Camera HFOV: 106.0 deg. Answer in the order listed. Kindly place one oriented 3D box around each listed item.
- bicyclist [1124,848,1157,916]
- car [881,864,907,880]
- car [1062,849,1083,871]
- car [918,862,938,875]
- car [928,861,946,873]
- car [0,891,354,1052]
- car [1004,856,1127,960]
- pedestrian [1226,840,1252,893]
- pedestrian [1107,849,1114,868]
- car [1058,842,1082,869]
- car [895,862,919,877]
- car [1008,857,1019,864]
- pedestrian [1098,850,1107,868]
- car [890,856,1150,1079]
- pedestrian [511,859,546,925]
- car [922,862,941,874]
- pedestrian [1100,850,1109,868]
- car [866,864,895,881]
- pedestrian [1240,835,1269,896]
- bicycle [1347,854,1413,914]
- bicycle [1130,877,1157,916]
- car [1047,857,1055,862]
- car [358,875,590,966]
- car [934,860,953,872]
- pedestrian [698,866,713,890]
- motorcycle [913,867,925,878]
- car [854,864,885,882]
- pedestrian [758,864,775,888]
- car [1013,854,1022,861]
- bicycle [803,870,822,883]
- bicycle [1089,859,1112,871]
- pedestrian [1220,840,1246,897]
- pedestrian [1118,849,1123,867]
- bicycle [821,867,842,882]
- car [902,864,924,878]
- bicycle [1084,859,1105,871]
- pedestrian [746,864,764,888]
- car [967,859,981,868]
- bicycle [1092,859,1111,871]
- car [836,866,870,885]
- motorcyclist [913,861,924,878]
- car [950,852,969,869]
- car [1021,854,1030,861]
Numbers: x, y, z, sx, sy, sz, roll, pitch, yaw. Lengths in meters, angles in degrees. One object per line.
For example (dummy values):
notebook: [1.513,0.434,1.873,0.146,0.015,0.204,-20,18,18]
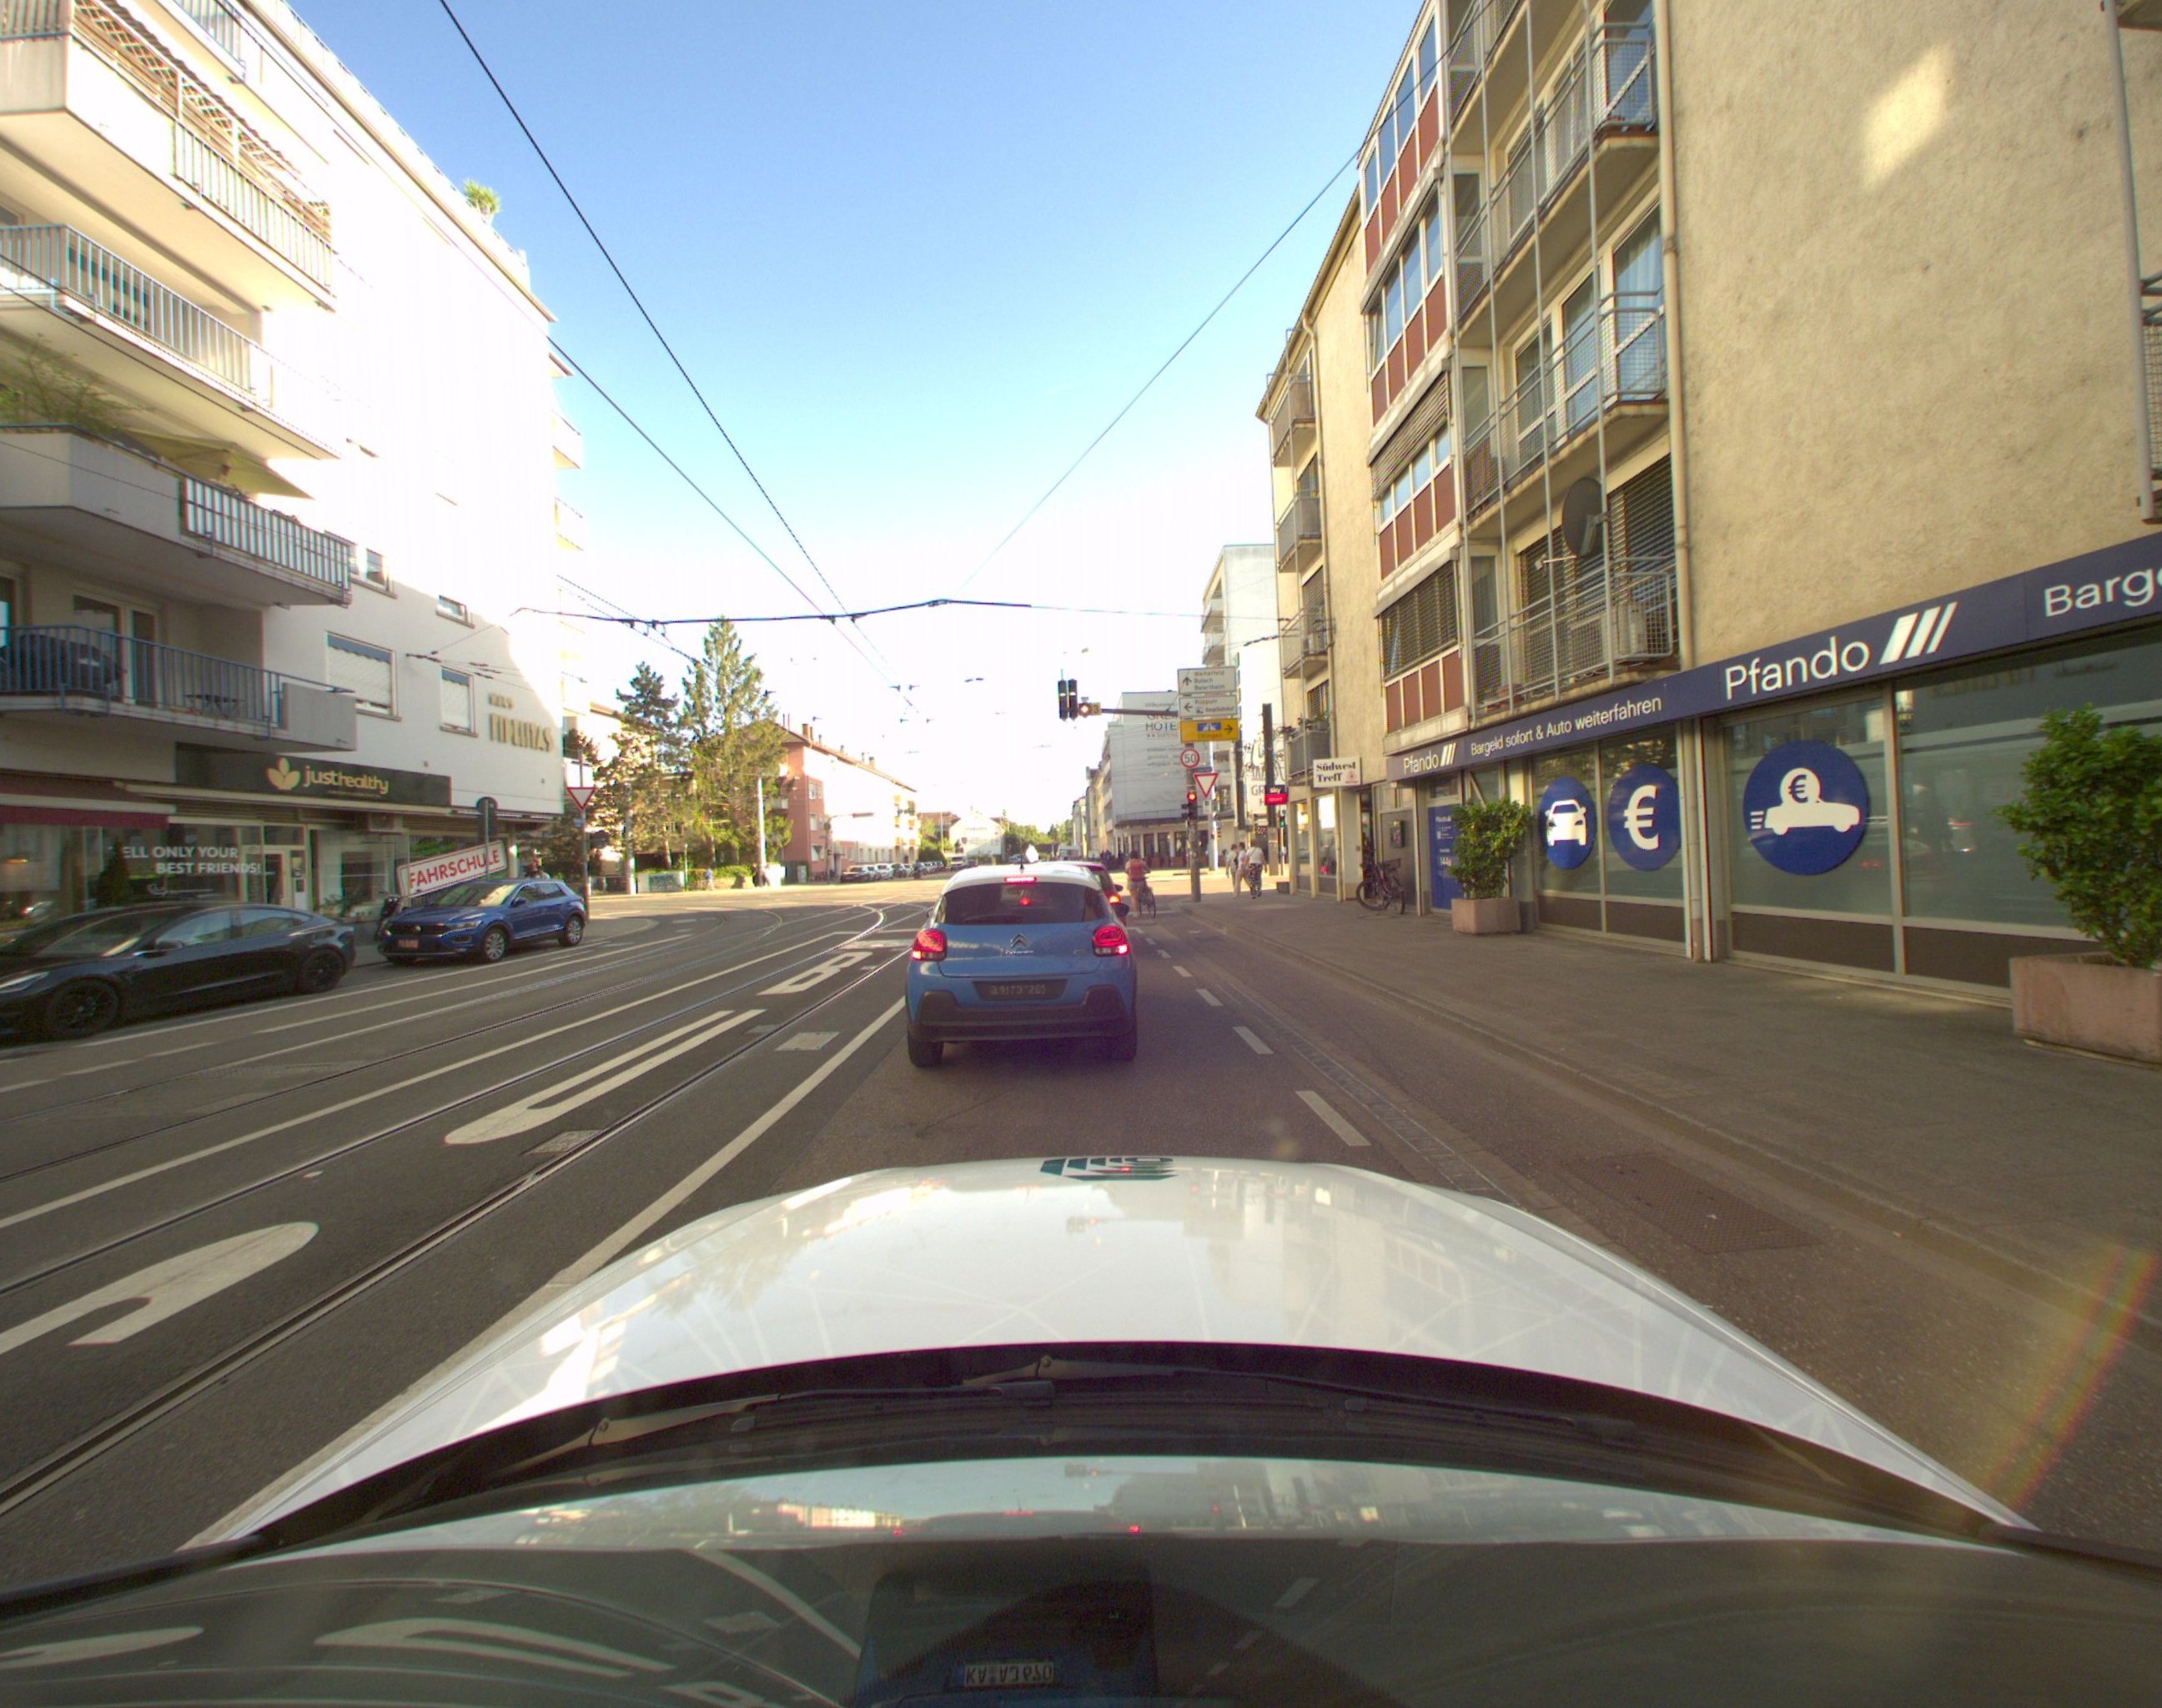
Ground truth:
bicyclist: [1.478,0.681,20.371,0.723,1.646,0.790,-2,0,1]
car: [-19.805,1.888,86.595,1.906,1.497,3.997,-3,0,-2]
car: [-0.718,0.466,67.700,1.727,1.750,3.212,-1,0,-1]
car: [-20.021,1.857,106.729,1.906,1.497,3.997,-3,0,-2]
car: [-20.606,1.884,116.842,1.865,1.574,3.997,-2,0,-2]
car: [-12.013,1.312,10.395,1.695,1.509,4.308,-1,-1,-2]
car: [-0.159,0.791,13.759,1.732,1.420,4.002,-2,0,2]
pedestrian: [4.624,0.357,23.871,0.539,1.507,0.611,-4,1,0]
pedestrian: [2.510,0.375,69.931,0.490,1.556,0.383,-2,0,-2]
car: [-0.998,0.157,72.627,1.988,2.325,3.998,-1,0,-1]
car: [-19.804,1.754,92.738,1.906,1.497,3.997,-3,0,-2]
car: [-14.051,1.336,169.971,2.016,1.525,3.997,-2,0,-2]
pedestrian: [1.963,0.455,74.458,0.648,1.556,0.490,-2,0,-20]
car: [-0.545,0.766,7.541,1.740,1.462,3.994,-1,0,-4]
pedestrian: [-17.301,1.191,25.511,0.684,2.013,0.486,-2,0,1]
car: [-20.522,1.903,111.744,1.906,1.497,3.997,-3,0,-2]
pedestrian: [2.086,0.440,72.650,0.648,1.556,0.490,-2,0,-20]
car: [-19.580,1.781,79.803,1.906,1.497,3.997,-3,0,-2]
pedestrian: [4.897,0.311,23.021,0.539,1.672,0.650,-4,0,0]
bicycle: [5.751,0.546,15.772,0.528,1.072,1.810,-2,0,-1]
bicycle: [1.569,1.053,20.642,0.497,0.864,1.748,-2,0,0]
car: [-7.645,1.345,206.948,1.752,1.259,3.825,-2,0,-5]
car: [-11.870,1.218,16.305,1.740,1.509,3.996,-1,-1,-2]
car: [-20.561,1.821,122.271,2.024,1.619,4.509,-3,0,-1]
pedestrian: [-26.346,1.689,57.206,0.854,1.625,0.510,-2,0,-32]
motorcycle: [-13.480,1.555,67.751,0.613,0.864,1.671,-2,0,2]
car: [-19.518,1.727,75.175,1.906,1.497,3.997,-3,0,-2]
pedestrian: [-22.675,1.601,58.680,0.837,1.690,0.740,-2,0,14]
car: [-14.657,0.861,188.041,2.016,1.525,3.997,-3,0,-2]
bicycle: [-22.462,1.864,68.159,0.730,0.952,2.597,-2,0,0]
bicycle: [1.611,0.895,67.166,1.866,0.957,0.702,-3,0,3]
pedestrian: [4.588,0.429,24.622,0.539,1.672,0.624,-4,1,0]
pedestrian: [3.415,0.355,70.225,0.284,1.556,0.304,-2,0,-7]
bicycle: [-22.806,1.877,74.566,0.845,1.225,3.304,-2,0,0]
car: [-20.208,2.064,98.322,1.906,1.497,3.997,-3,0,-2]
bicycle: [1.133,0.918,68.537,1.713,0.957,0.702,-3,0,3]
pedestrian: [-23.611,1.561,58.995,0.837,1.690,0.740,-2,0,14]
car: [-19.128,1.744,145.156,2.016,1.525,3.997,-2,0,-2]
bicycle: [1.668,0.888,66.104,1.497,0.957,0.702,-3,0,3]
car: [-19.423,1.769,69.441,1.907,1.433,3.995,-3,0,-4]
motorcyclist: [-13.487,1.267,67.598,0.716,1.378,0.912,-2,0,2]
car: [-17.867,0.950,119.934,2.201,2.251,4.673,-3,0,-2]
car: [-14.737,1.002,216.123,1.992,1.684,3.989,-3,0,-8]
